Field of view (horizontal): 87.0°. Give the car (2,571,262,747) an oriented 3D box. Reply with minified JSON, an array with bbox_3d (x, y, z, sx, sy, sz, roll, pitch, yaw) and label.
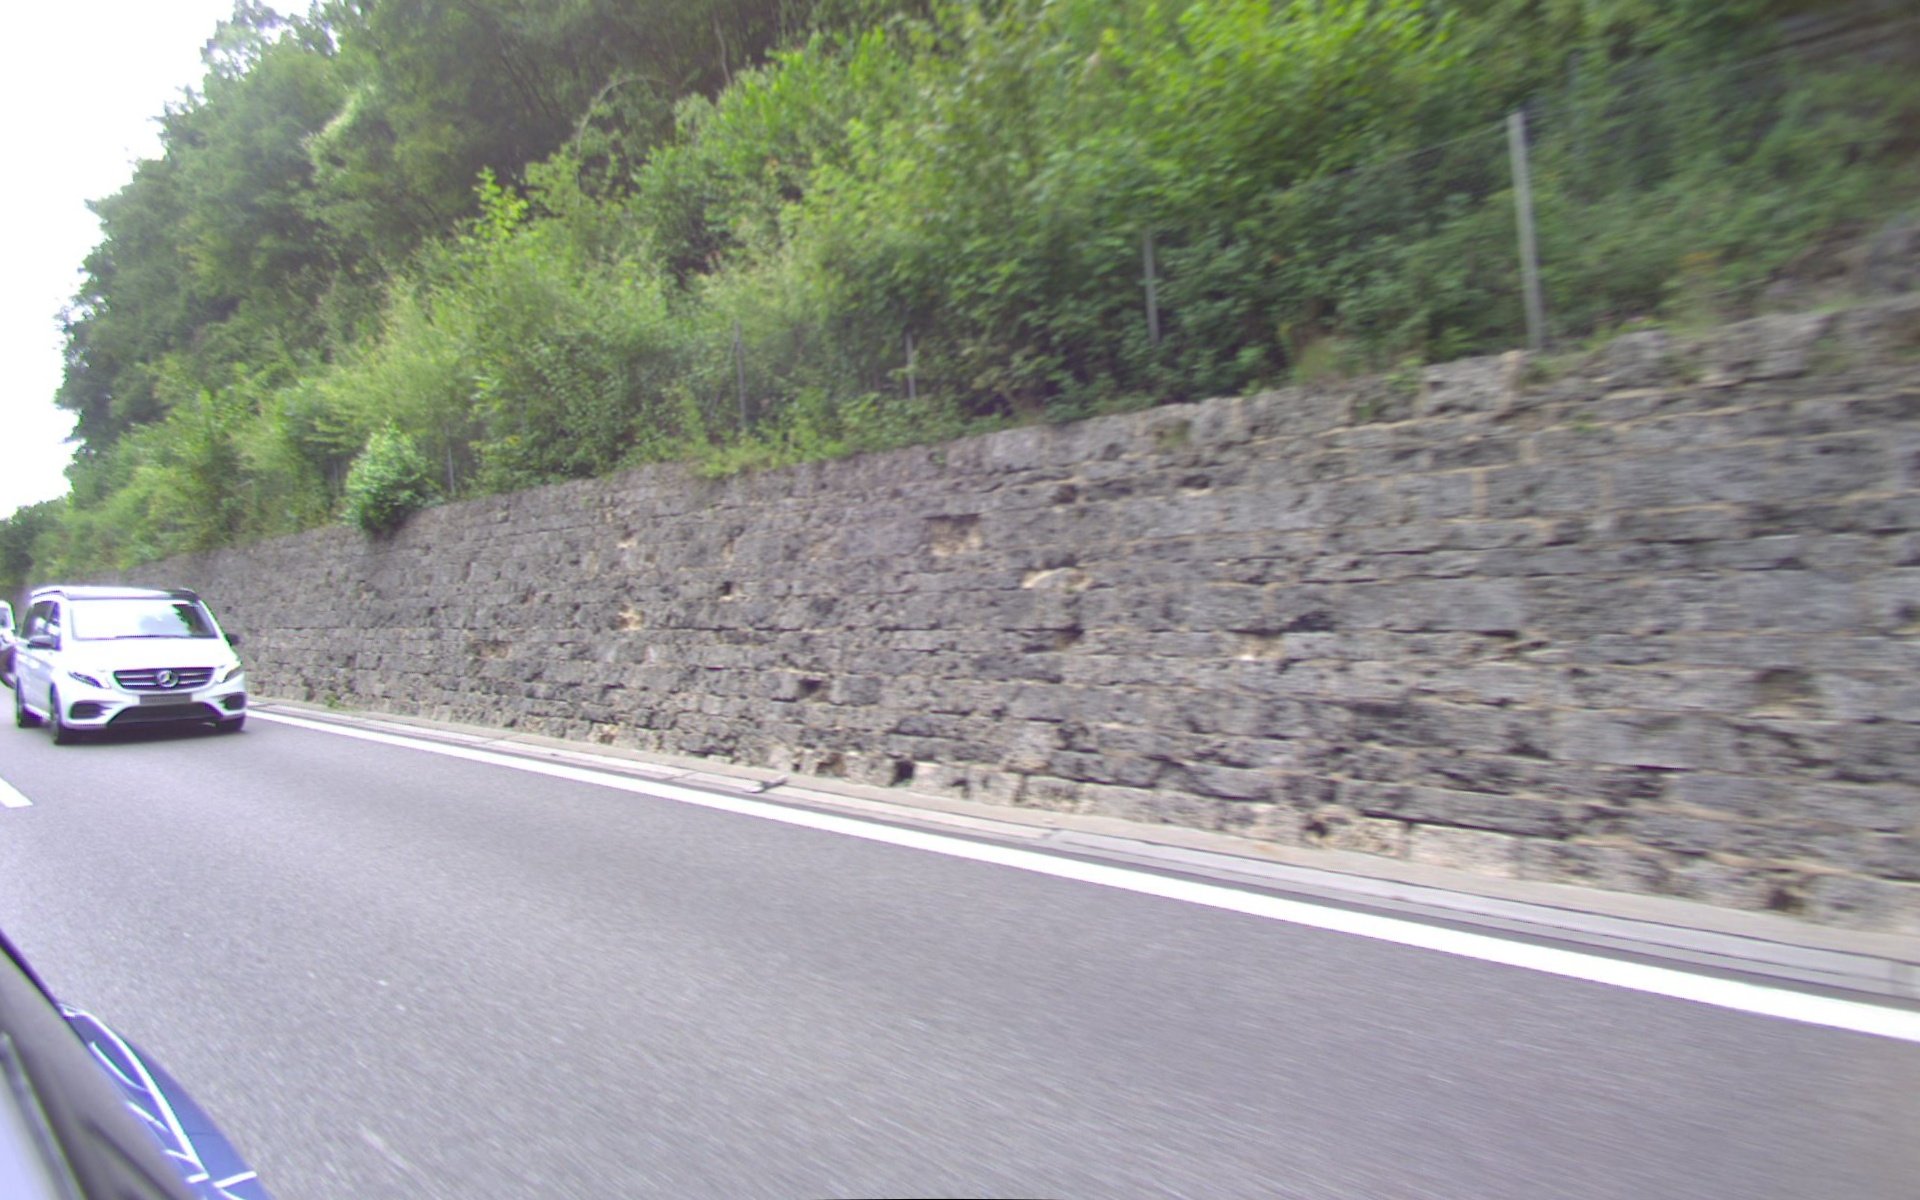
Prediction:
[{"bbox_3d":[-11.738,0.695,14.139,6.147,1.967,1.972,-2,0,43],"label":"car"}]

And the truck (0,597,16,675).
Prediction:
[{"bbox_3d":[-31.295,1.149,31.621,6.582,2.297,1.973,-2,0,41],"label":"truck"}]
